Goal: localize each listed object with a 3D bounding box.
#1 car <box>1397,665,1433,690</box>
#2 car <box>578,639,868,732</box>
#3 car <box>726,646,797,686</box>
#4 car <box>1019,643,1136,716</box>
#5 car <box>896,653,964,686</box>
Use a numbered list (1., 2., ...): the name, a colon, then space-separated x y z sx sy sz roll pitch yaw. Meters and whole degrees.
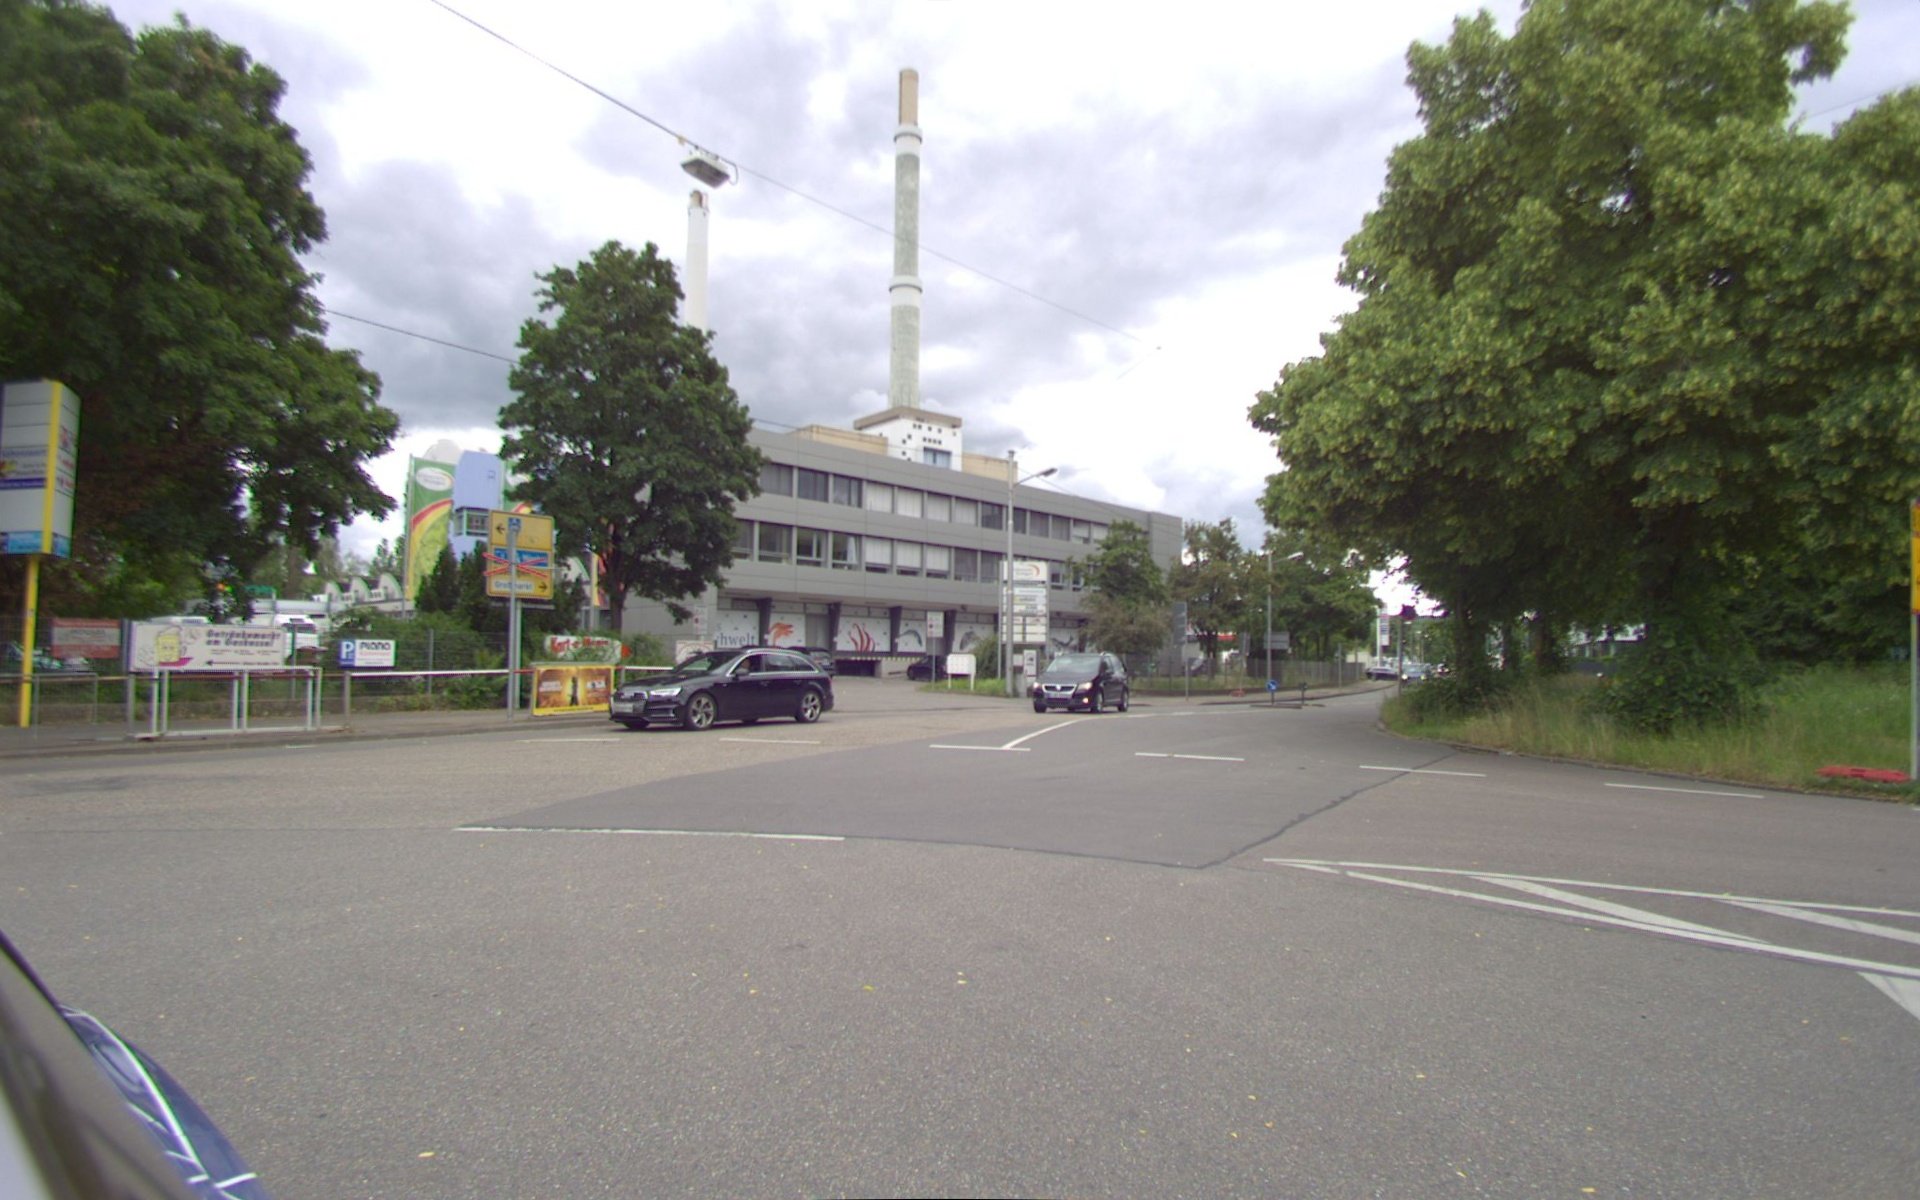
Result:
1. car: 36.229 6.141 80.524 1.828 1.960 4.746 -2 -4 34
2. car: -4.174 1.567 18.734 1.996 1.468 5.156 -3 -6 37
3. car: -9.588 3.163 48.748 1.751 1.691 3.576 -1 0 -43
4. car: 3.217 2.141 26.930 1.823 1.785 4.192 -2 -6 26
5. car: -1.638 3.737 54.863 1.723 1.564 3.614 -1 0 -43
